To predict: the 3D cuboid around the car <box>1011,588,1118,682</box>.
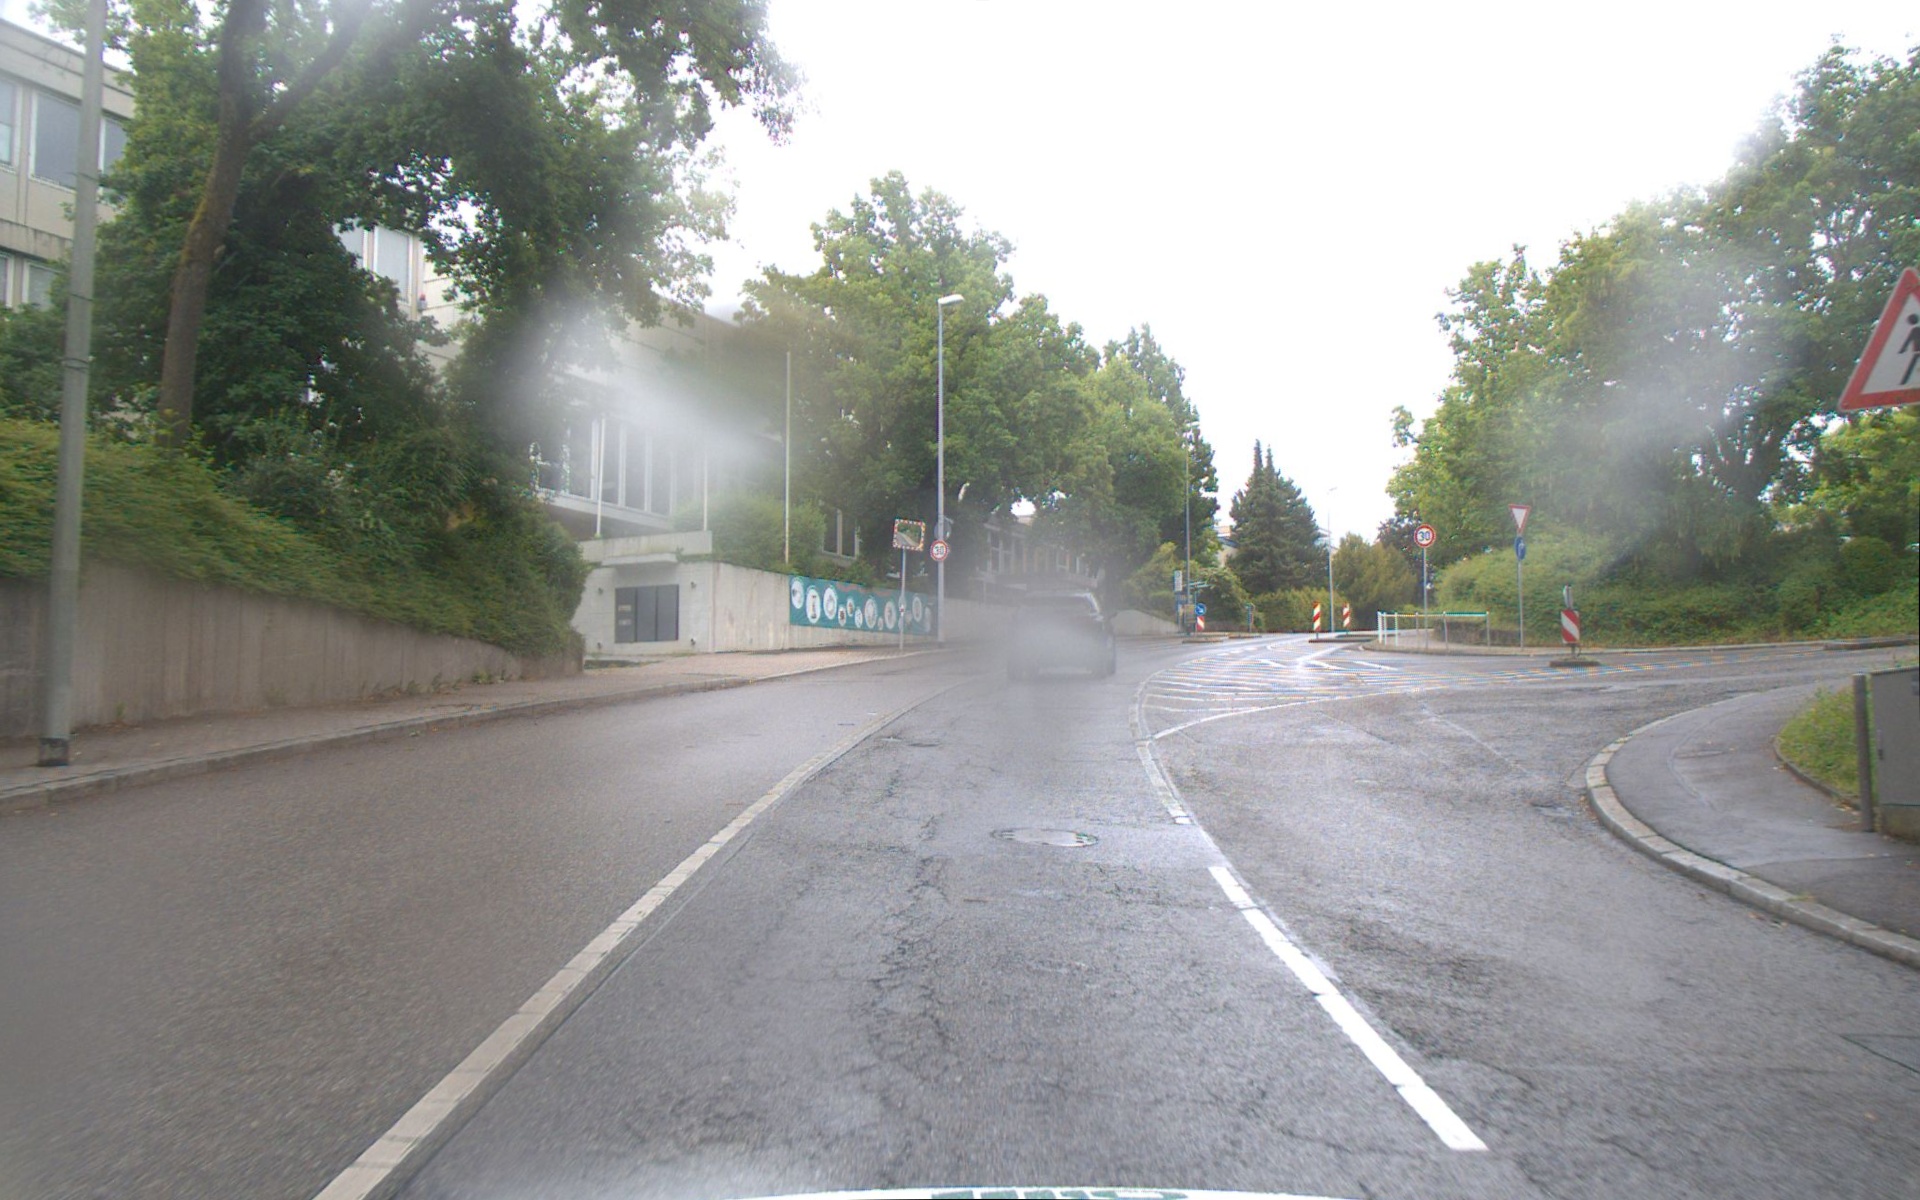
[{"bbox_3d":[1.989,0.610,31.160,1.887,1.641,4.002,0,0,4],"label":"car"}]
